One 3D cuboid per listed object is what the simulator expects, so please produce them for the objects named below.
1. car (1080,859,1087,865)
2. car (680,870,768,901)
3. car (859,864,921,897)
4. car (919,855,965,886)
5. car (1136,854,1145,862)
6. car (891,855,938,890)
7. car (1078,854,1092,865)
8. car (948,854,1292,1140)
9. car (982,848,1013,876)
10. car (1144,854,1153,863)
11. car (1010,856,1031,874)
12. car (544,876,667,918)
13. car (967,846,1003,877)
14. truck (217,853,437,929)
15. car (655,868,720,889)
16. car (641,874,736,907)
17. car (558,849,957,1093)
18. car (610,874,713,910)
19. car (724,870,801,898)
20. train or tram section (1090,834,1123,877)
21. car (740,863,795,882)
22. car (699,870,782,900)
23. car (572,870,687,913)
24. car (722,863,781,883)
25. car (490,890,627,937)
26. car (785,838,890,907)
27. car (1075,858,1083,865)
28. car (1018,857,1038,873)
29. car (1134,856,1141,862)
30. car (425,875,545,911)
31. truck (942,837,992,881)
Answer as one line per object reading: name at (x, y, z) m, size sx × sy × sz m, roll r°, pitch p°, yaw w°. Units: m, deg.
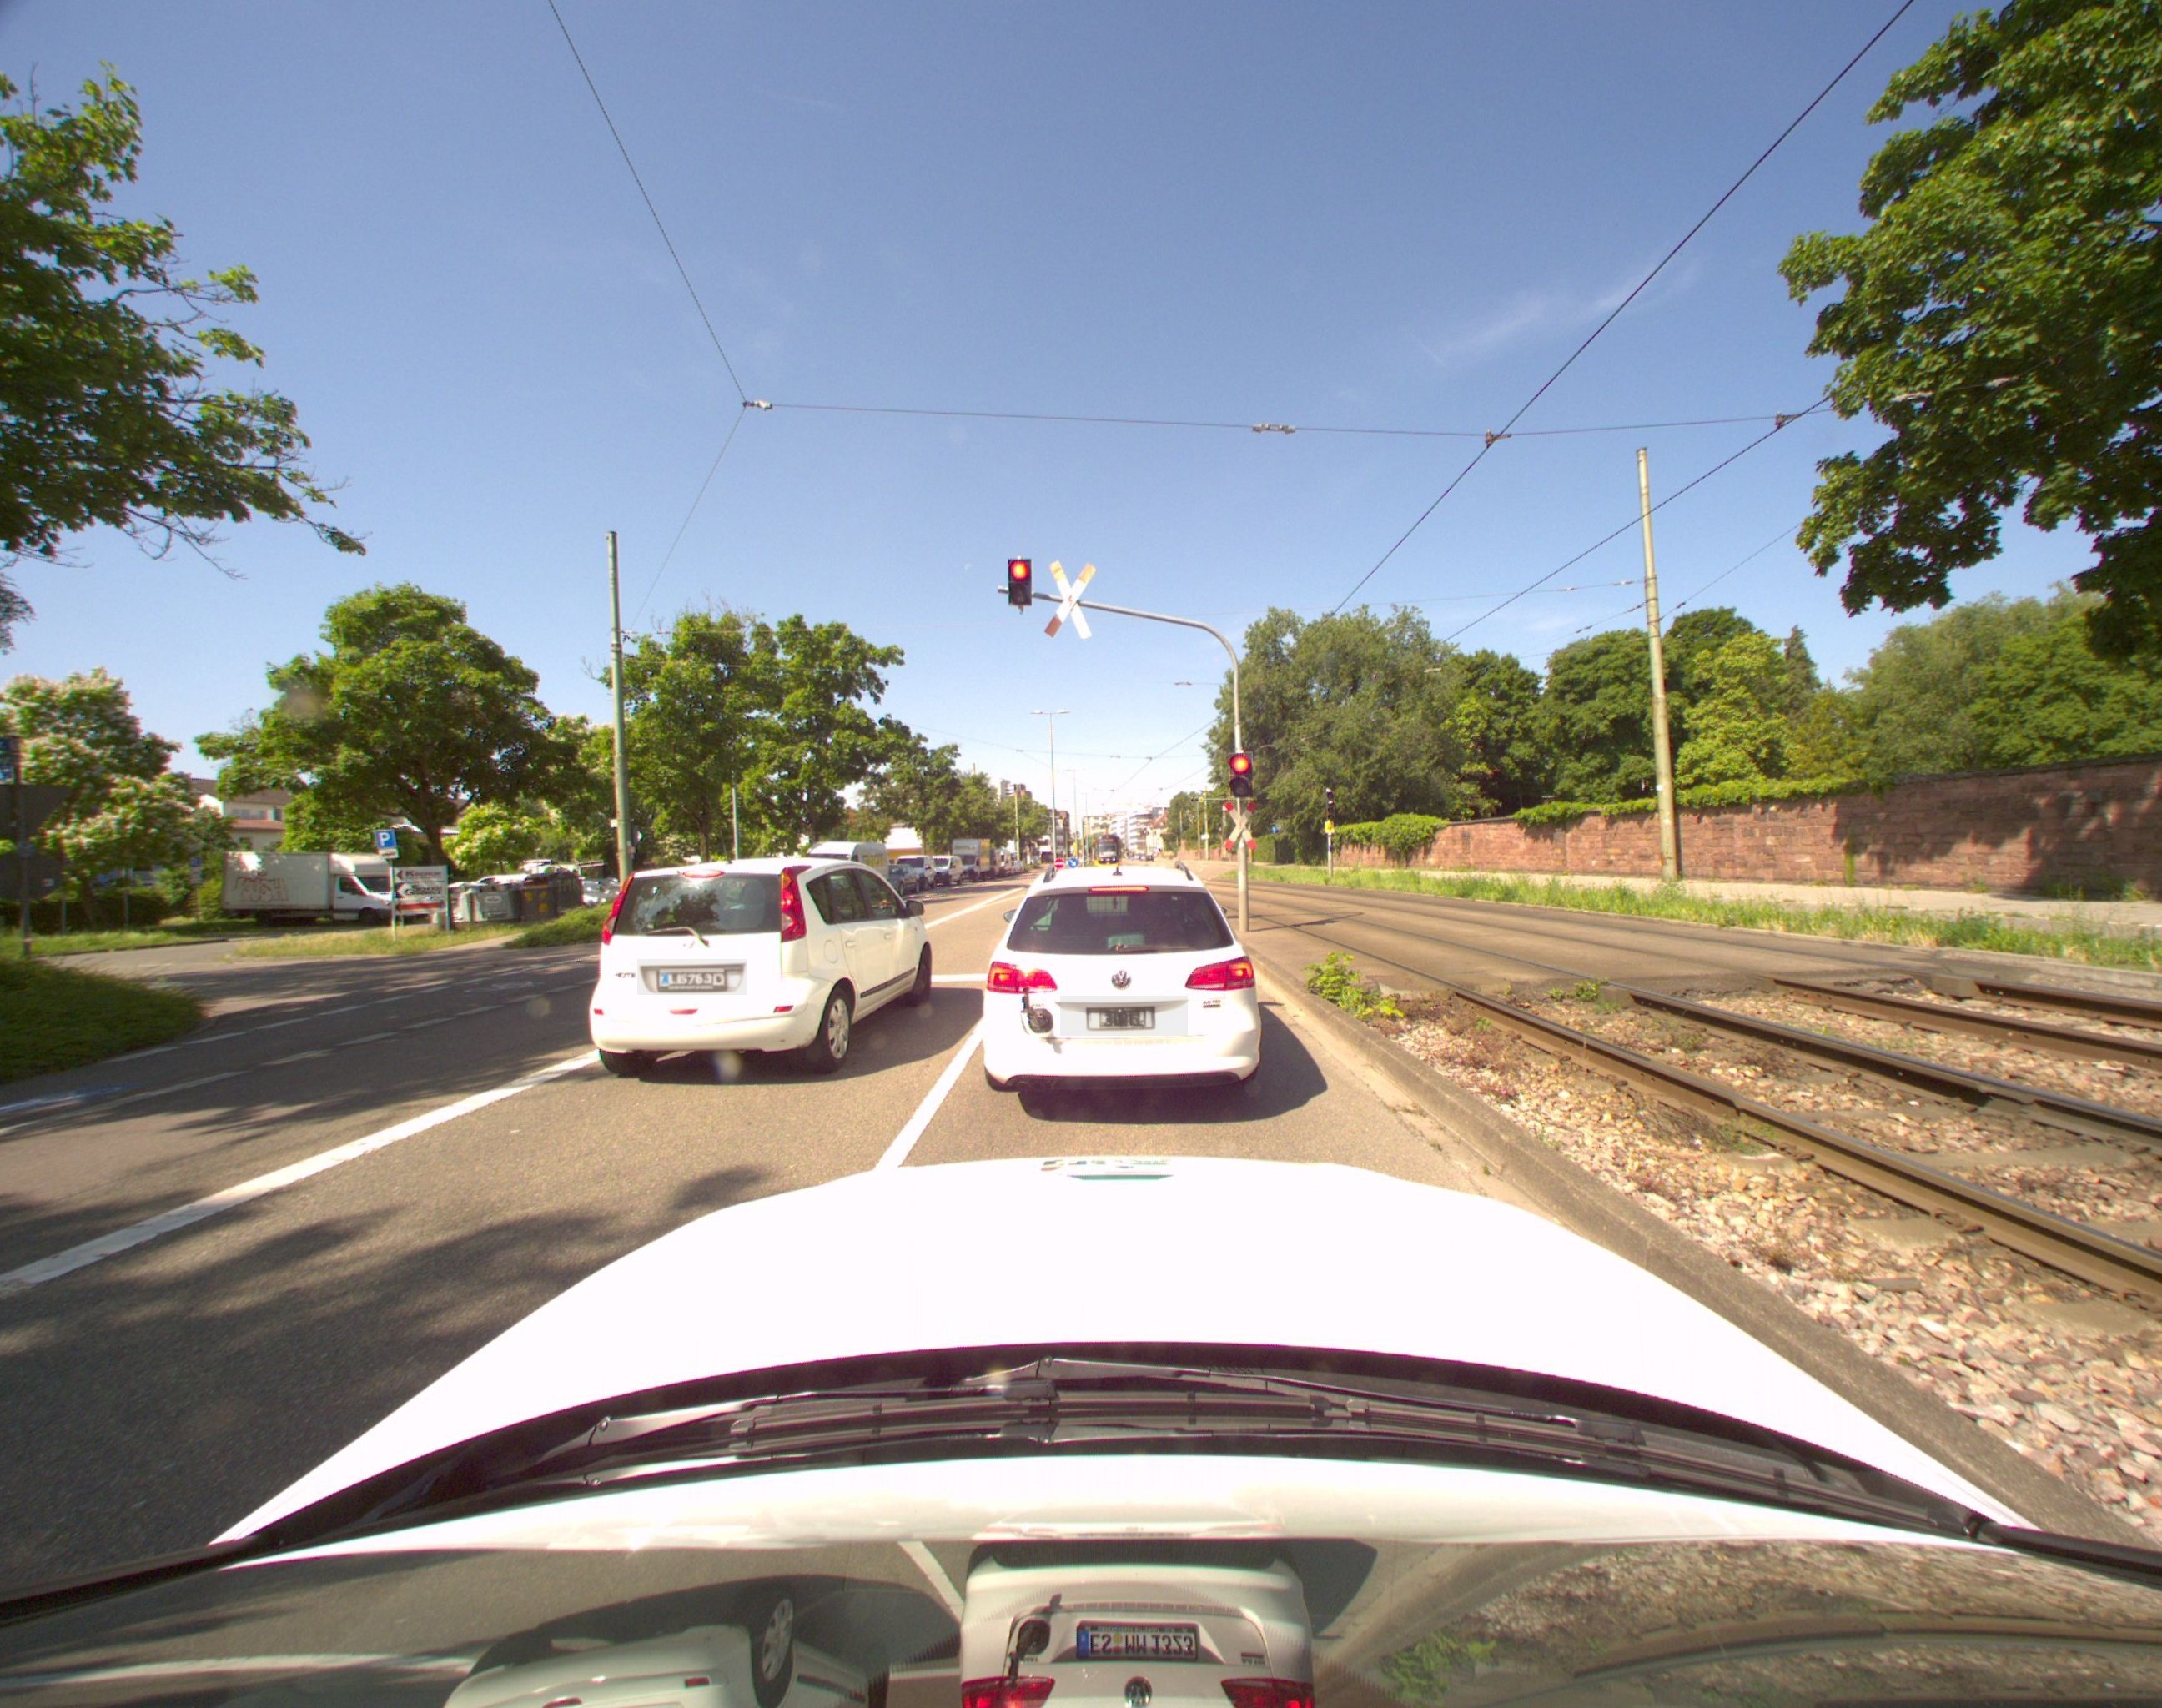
car at (0.640, 2.055, 211.402) m, size 1.699 × 1.473 × 4.591 m, roll -3°, pitch 0°, yaw 2°
car at (-19.550, 1.721, 44.726) m, size 3.977 × 1.415 × 1.729 m, roll -4°, pitch -1°, yaw -3°
car at (-9.075, 1.222, 39.095) m, size 1.856 × 1.415 × 4.281 m, roll 0°, pitch 0°, yaw 1°
car at (-8.852, 1.011, 52.265) m, size 1.856 × 1.868 × 5.415 m, roll 0°, pitch 0°, yaw 1°
car at (14.584, 1.002, 199.540) m, size 1.857 × 1.868 × 5.063 m, roll 0°, pitch 0°, yaw 1°
car at (-9.253, 0.990, 45.642) m, size 1.859 × 1.868 × 5.068 m, roll 0°, pitch 0°, yaw -4°
car at (0.613, 0.772, 113.040) m, size 1.698 × 1.473 × 4.593 m, roll -3°, pitch 0°, yaw 3°
car at (0.268, 0.756, 6.308) m, size 1.756 × 1.430 × 4.002 m, roll -3°, pitch 0°, yaw 2°
car at (-7.748, 0.675, 76.116) m, size 2.114 × 2.516 × 5.737 m, roll 0°, pitch 0°, yaw 2°
car at (15.336, 0.986, 184.916) m, size 1.857 × 1.868 × 5.063 m, roll 0°, pitch 0°, yaw 1°
car at (-6.790, 1.225, 92.024) m, size 1.856 × 1.868 × 5.415 m, roll 0°, pitch 0°, yaw 1°
car at (-19.678, 1.769, 33.856) m, size 3.977 × 1.415 × 1.729 m, roll -4°, pitch -1°, yaw -3°
car at (-8.026, 0.615, 68.681) m, size 2.114 × 2.516 × 5.737 m, roll 0°, pitch 0°, yaw 2°
truck at (-32.416, 1.521, 35.201) m, size 6.979 × 3.110 × 2.677 m, roll 0°, pitch 0°, yaw 0°
car at (-35.212, 2.195, 72.967) m, size 4.780 × 1.787 × 2.062 m, roll 0°, pitch -1°, yaw -3°
car at (-20.300, 1.868, 42.210) m, size 3.977 × 1.415 × 1.729 m, roll -4°, pitch -1°, yaw -3°
car at (-2.447, 0.757, 7.541) m, size 1.655 × 1.547 × 4.550 m, roll -1°, pitch 0°, yaw 3°
car at (-20.305, 1.803, 39.524) m, size 3.977 × 1.415 × 1.729 m, roll -4°, pitch -1°, yaw -3°
car at (-19.474, 1.820, 49.876) m, size 3.977 × 1.415 × 1.729 m, roll -4°, pitch -1°, yaw -3°
train or tram section at (2.671, 0.095, 81.137) m, size 2.859 × 3.855 × 12.400 m, roll -3°, pitch 0°, yaw 3°
car at (-31.789, 1.859, 82.772) m, size 4.780 × 1.787 × 2.062 m, roll 0°, pitch -1°, yaw -3°
car at (-19.621, 1.766, 47.060) m, size 3.977 × 1.415 × 1.729 m, roll -4°, pitch -1°, yaw -3°
car at (-19.928, 1.628, 36.063) m, size 3.977 × 1.610 × 1.729 m, roll -4°, pitch -1°, yaw -3°
car at (-31.485, 1.817, 77.896) m, size 4.780 × 1.787 × 2.062 m, roll 0°, pitch -1°, yaw -3°
car at (-19.910, 2.234, 31.163) m, size 3.977 × 1.415 × 1.729 m, roll -4°, pitch -1°, yaw -3°
car at (-9.591, 0.686, 32.670) m, size 2.114 × 2.516 × 5.822 m, roll 0°, pitch 0°, yaw 3°
car at (-0.497, 1.615, 185.934) m, size 1.699 × 1.473 × 4.590 m, roll -3°, pitch 0°, yaw 1°
car at (-6.409, 1.353, 98.936) m, size 1.856 × 1.868 × 5.415 m, roll 0°, pitch 0°, yaw 1°
car at (17.606, 1.543, 255.132) m, size 1.857 × 1.868 × 5.063 m, roll 0°, pitch 0°, yaw 1°
car at (-31.780, 2.048, 43.531) m, size 4.780 × 1.787 × 2.062 m, roll 0°, pitch -1°, yaw -3°
truck at (-8.388, 0.349, 60.686) m, size 2.411 × 3.150 × 7.001 m, roll 0°, pitch 0°, yaw 2°
